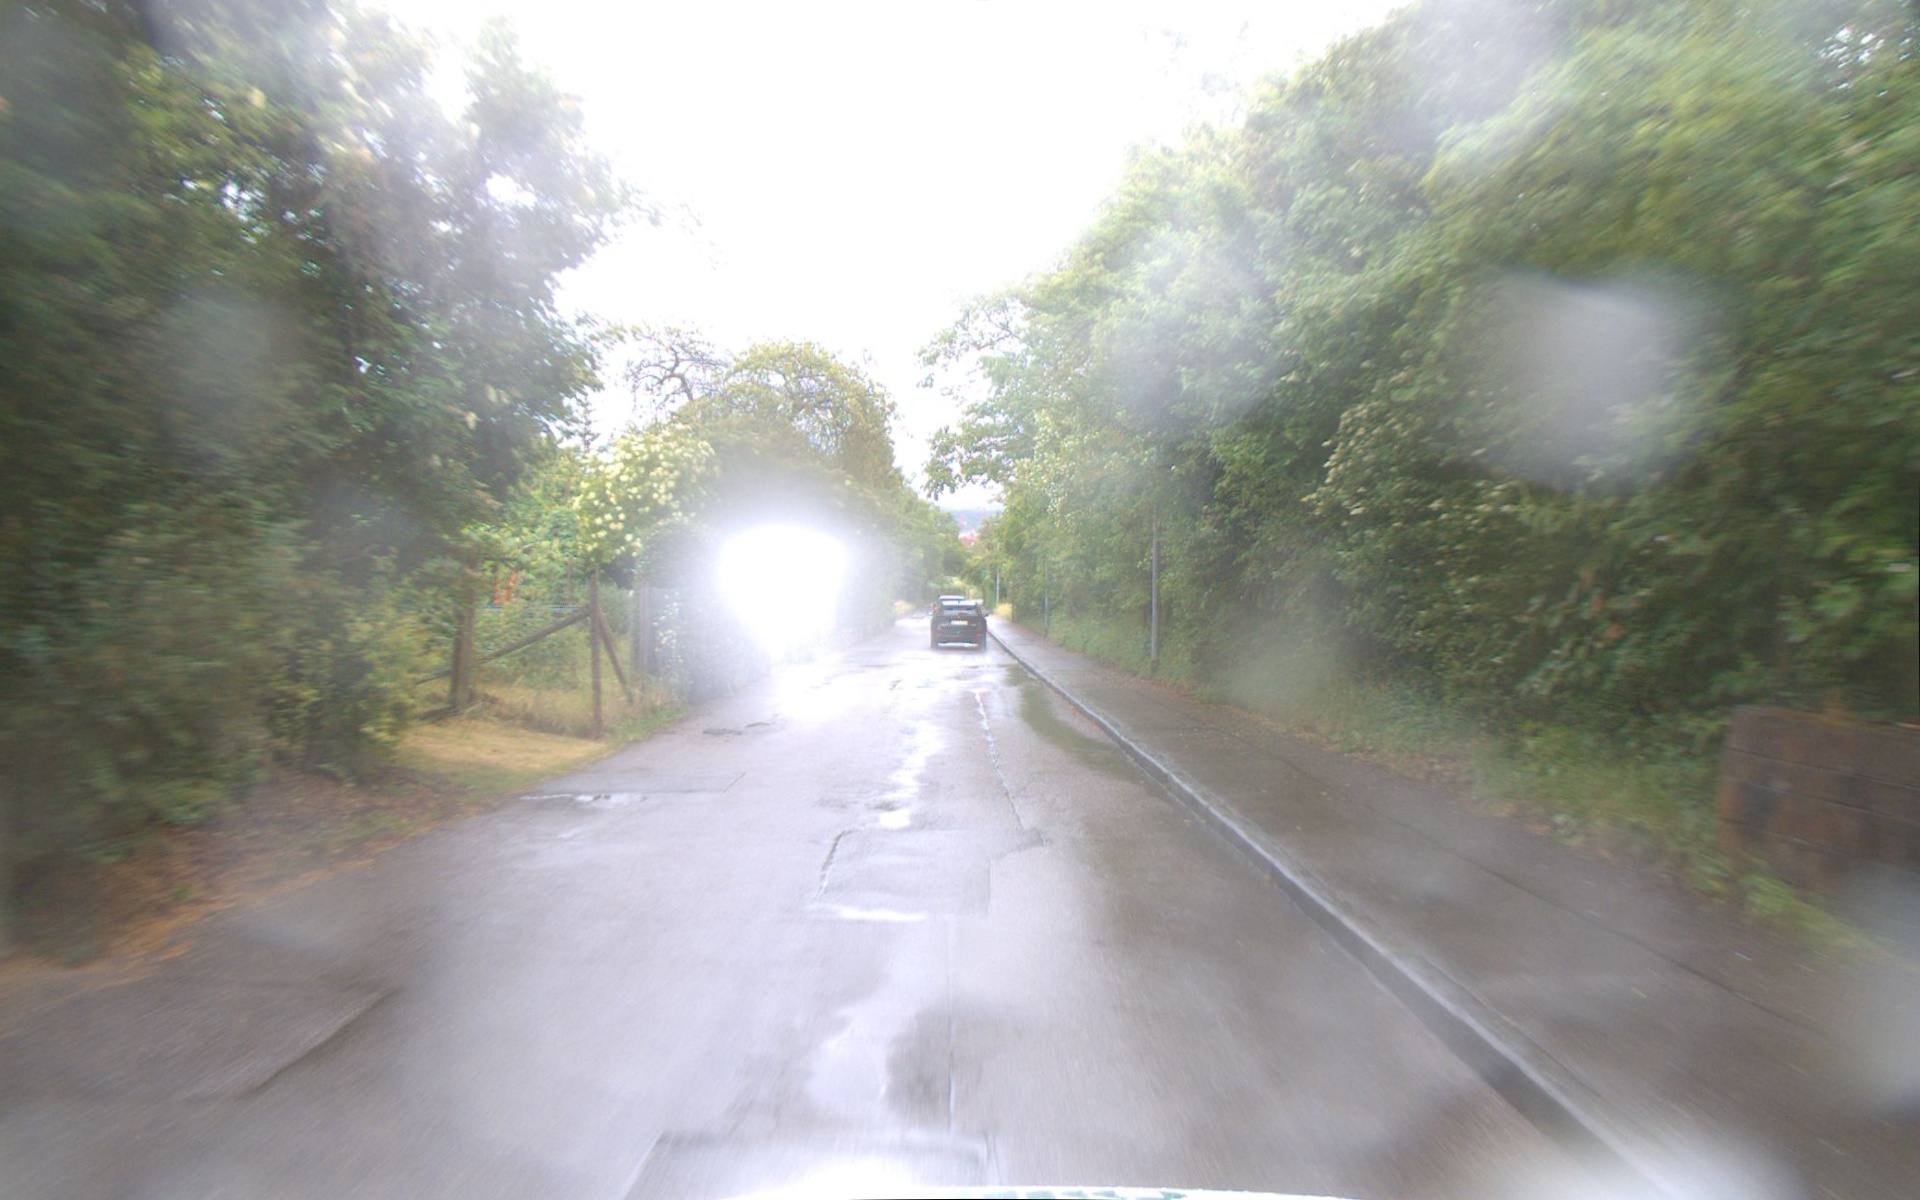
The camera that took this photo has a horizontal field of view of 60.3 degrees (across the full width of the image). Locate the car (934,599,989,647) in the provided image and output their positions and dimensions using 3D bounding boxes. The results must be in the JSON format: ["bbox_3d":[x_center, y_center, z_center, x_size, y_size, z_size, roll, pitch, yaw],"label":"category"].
[{"bbox_3d":[0.075,0.733,51.850,1.601,1.476,3.545,0,-1,2],"label":"car"}]
